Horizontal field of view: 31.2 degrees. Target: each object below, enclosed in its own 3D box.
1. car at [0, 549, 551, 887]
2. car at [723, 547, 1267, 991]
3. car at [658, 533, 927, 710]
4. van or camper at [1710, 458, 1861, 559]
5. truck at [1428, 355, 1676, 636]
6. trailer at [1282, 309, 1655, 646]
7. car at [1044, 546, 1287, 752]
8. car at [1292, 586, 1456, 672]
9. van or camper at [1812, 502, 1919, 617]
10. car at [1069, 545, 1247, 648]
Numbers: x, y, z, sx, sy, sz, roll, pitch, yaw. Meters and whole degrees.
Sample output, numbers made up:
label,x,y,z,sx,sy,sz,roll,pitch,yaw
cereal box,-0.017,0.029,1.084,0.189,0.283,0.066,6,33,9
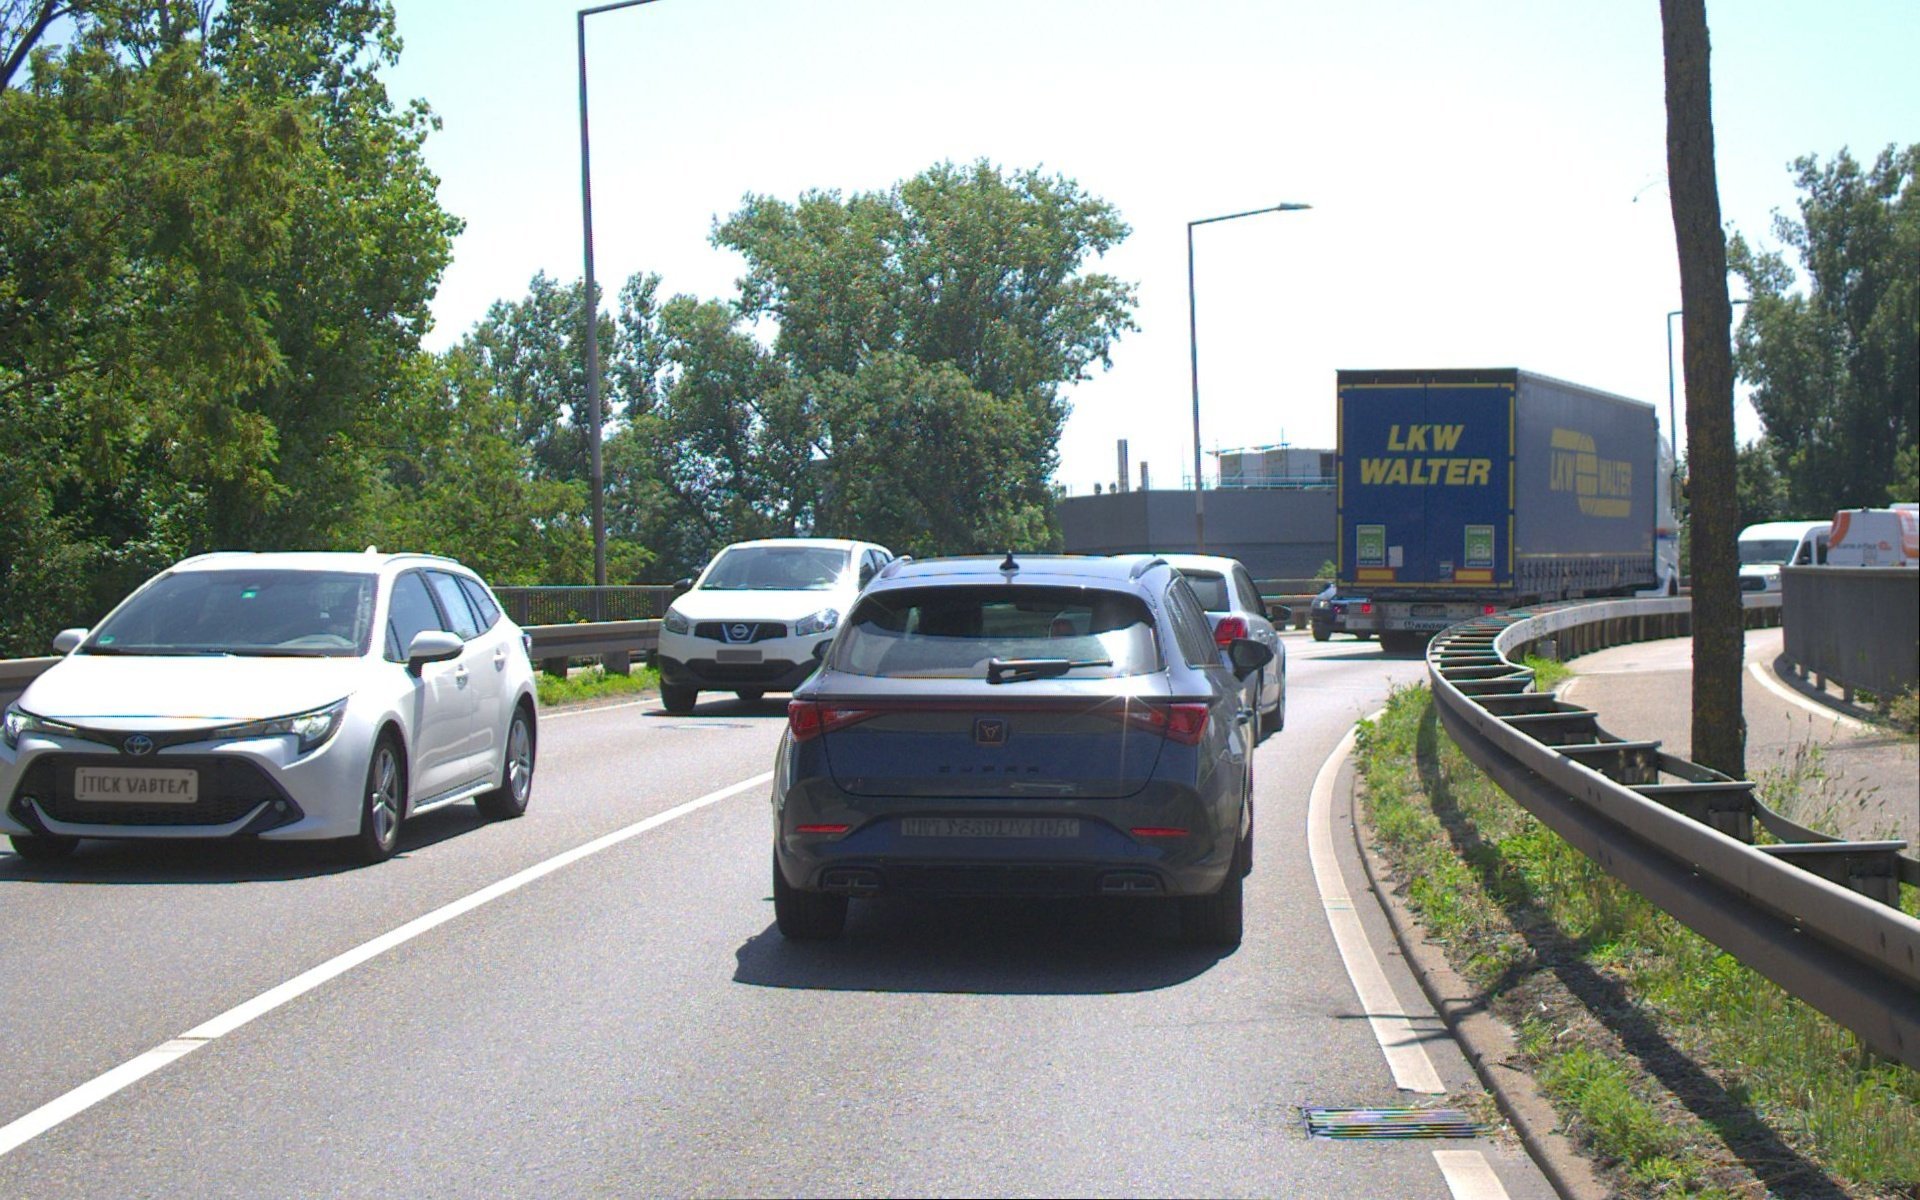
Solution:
label,x,y,z,sx,sy,sz,roll,pitch,yaw
car,-3.360,0.480,17.206,1.701,1.442,4.459,1,1,5
car,0.268,0.541,13.562,1.846,1.493,3.757,0,1,5
car,-1.496,0.154,32.365,1.746,1.541,4.392,0,1,8
van or camper,21.572,-2.367,89.628,2.052,2.529,5.873,1,1,32
truck,10.424,-1.727,59.891,3.173,4.569,7.390,1,0,18
trailer,8.226,-1.740,53.612,3.137,4.598,12.935,1,1,20
car,1.658,0.337,26.719,1.593,1.456,3.544,1,1,8
car,7.414,0.486,61.230,1.758,1.437,4.563,1,1,22
van or camper,22.653,-0.993,83.985,2.206,2.702,5.917,0,1,28
car,2.902,-0.078,49.628,1.717,1.423,4.104,0,1,16
